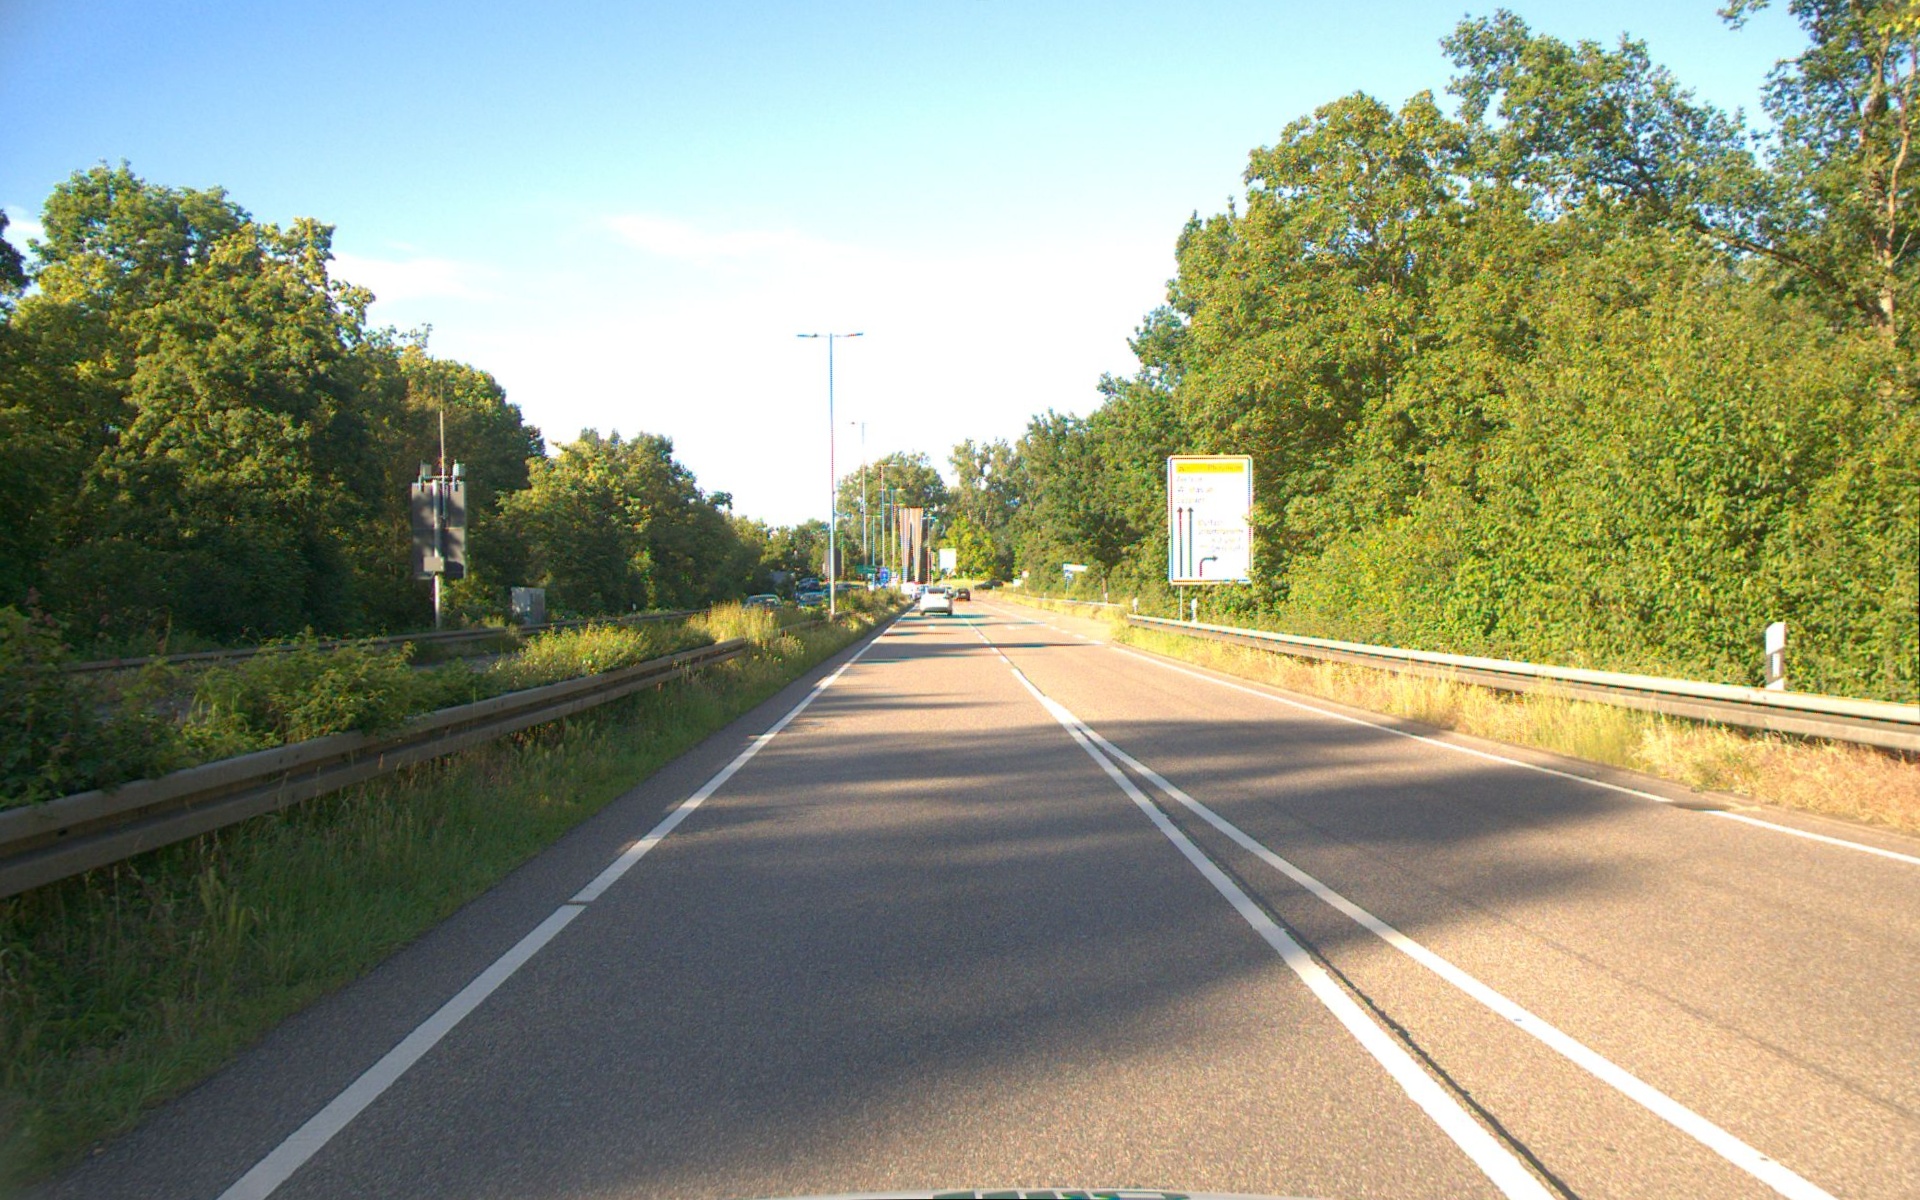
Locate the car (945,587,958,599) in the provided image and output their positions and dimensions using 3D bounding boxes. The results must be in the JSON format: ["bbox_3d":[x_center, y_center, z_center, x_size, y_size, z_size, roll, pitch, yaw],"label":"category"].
[{"bbox_3d":[-1.056,-0.850,201.920,1.591,1.303,2.986,1,-1,-1],"label":"car"}]

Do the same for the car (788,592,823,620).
[{"bbox_3d":[-9.219,0.333,99.102,1.585,1.557,4.609,-2,0,1],"label":"car"}]

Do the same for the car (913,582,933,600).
[{"bbox_3d":[-4.262,-1.019,190.007,1.954,1.912,4.246,-2,1,-4],"label":"car"}]

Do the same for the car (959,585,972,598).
[{"bbox_3d":[0.578,-0.940,183.053,1.360,1.303,2.986,1,-1,-1],"label":"car"}]

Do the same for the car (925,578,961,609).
[{"bbox_3d":[-1.030,-0.406,97.728,1.953,1.668,4.127,-2,1,-2],"label":"car"}]

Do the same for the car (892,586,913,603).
[{"bbox_3d":[-7.283,-0.657,209.560,1.959,2.049,3.987,1,-1,-12],"label":"car"}]
